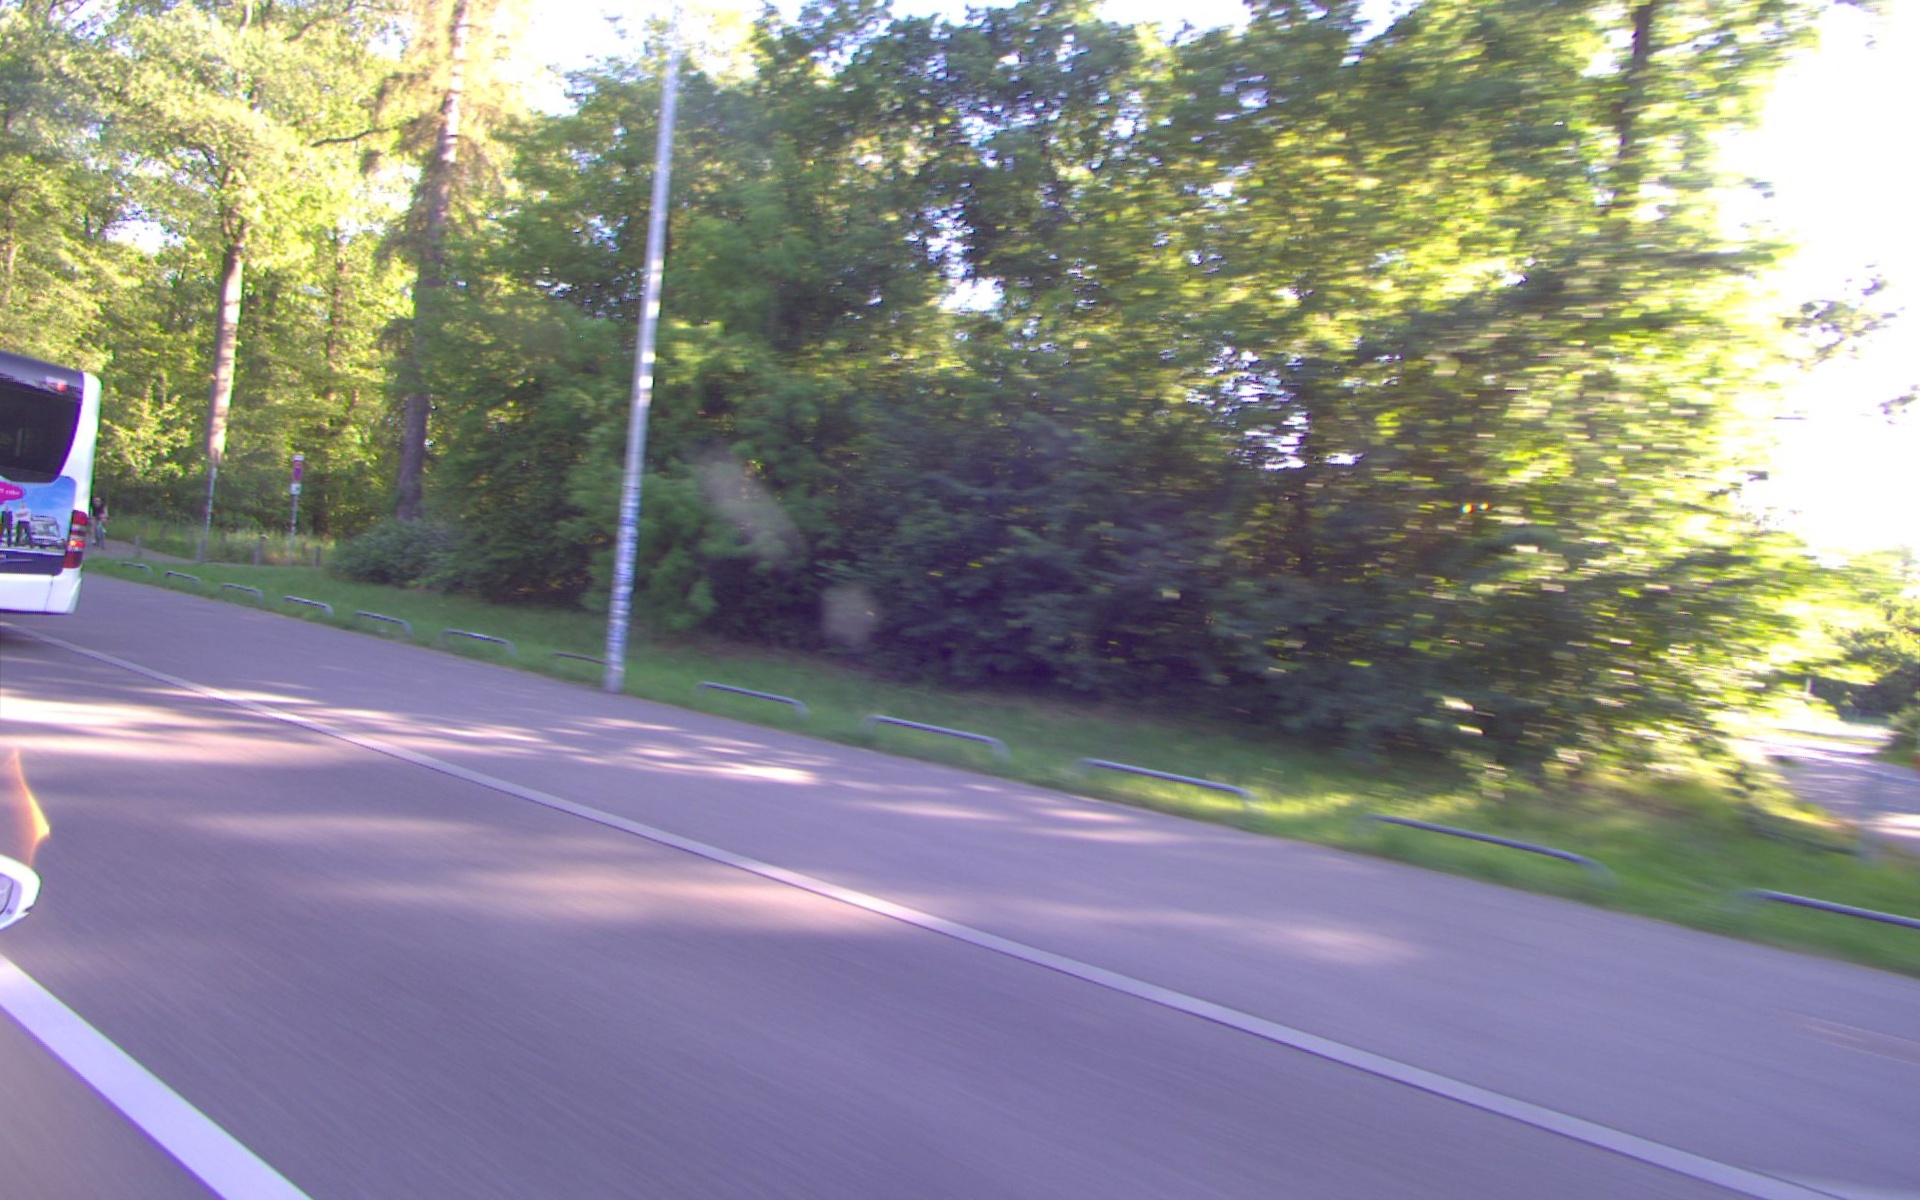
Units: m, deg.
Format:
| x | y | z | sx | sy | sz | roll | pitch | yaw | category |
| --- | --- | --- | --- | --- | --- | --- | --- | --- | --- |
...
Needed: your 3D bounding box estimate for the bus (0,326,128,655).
| x | y | z | sx | sy | sz | roll | pitch | yaw | category |
| --- | --- | --- | --- | --- | --- | --- | --- | --- | --- |
| -14.390 | -1.610 | 12.303 | 11.843 | 3.078 | 2.694 | 6 | -1 | 32 | bus |
